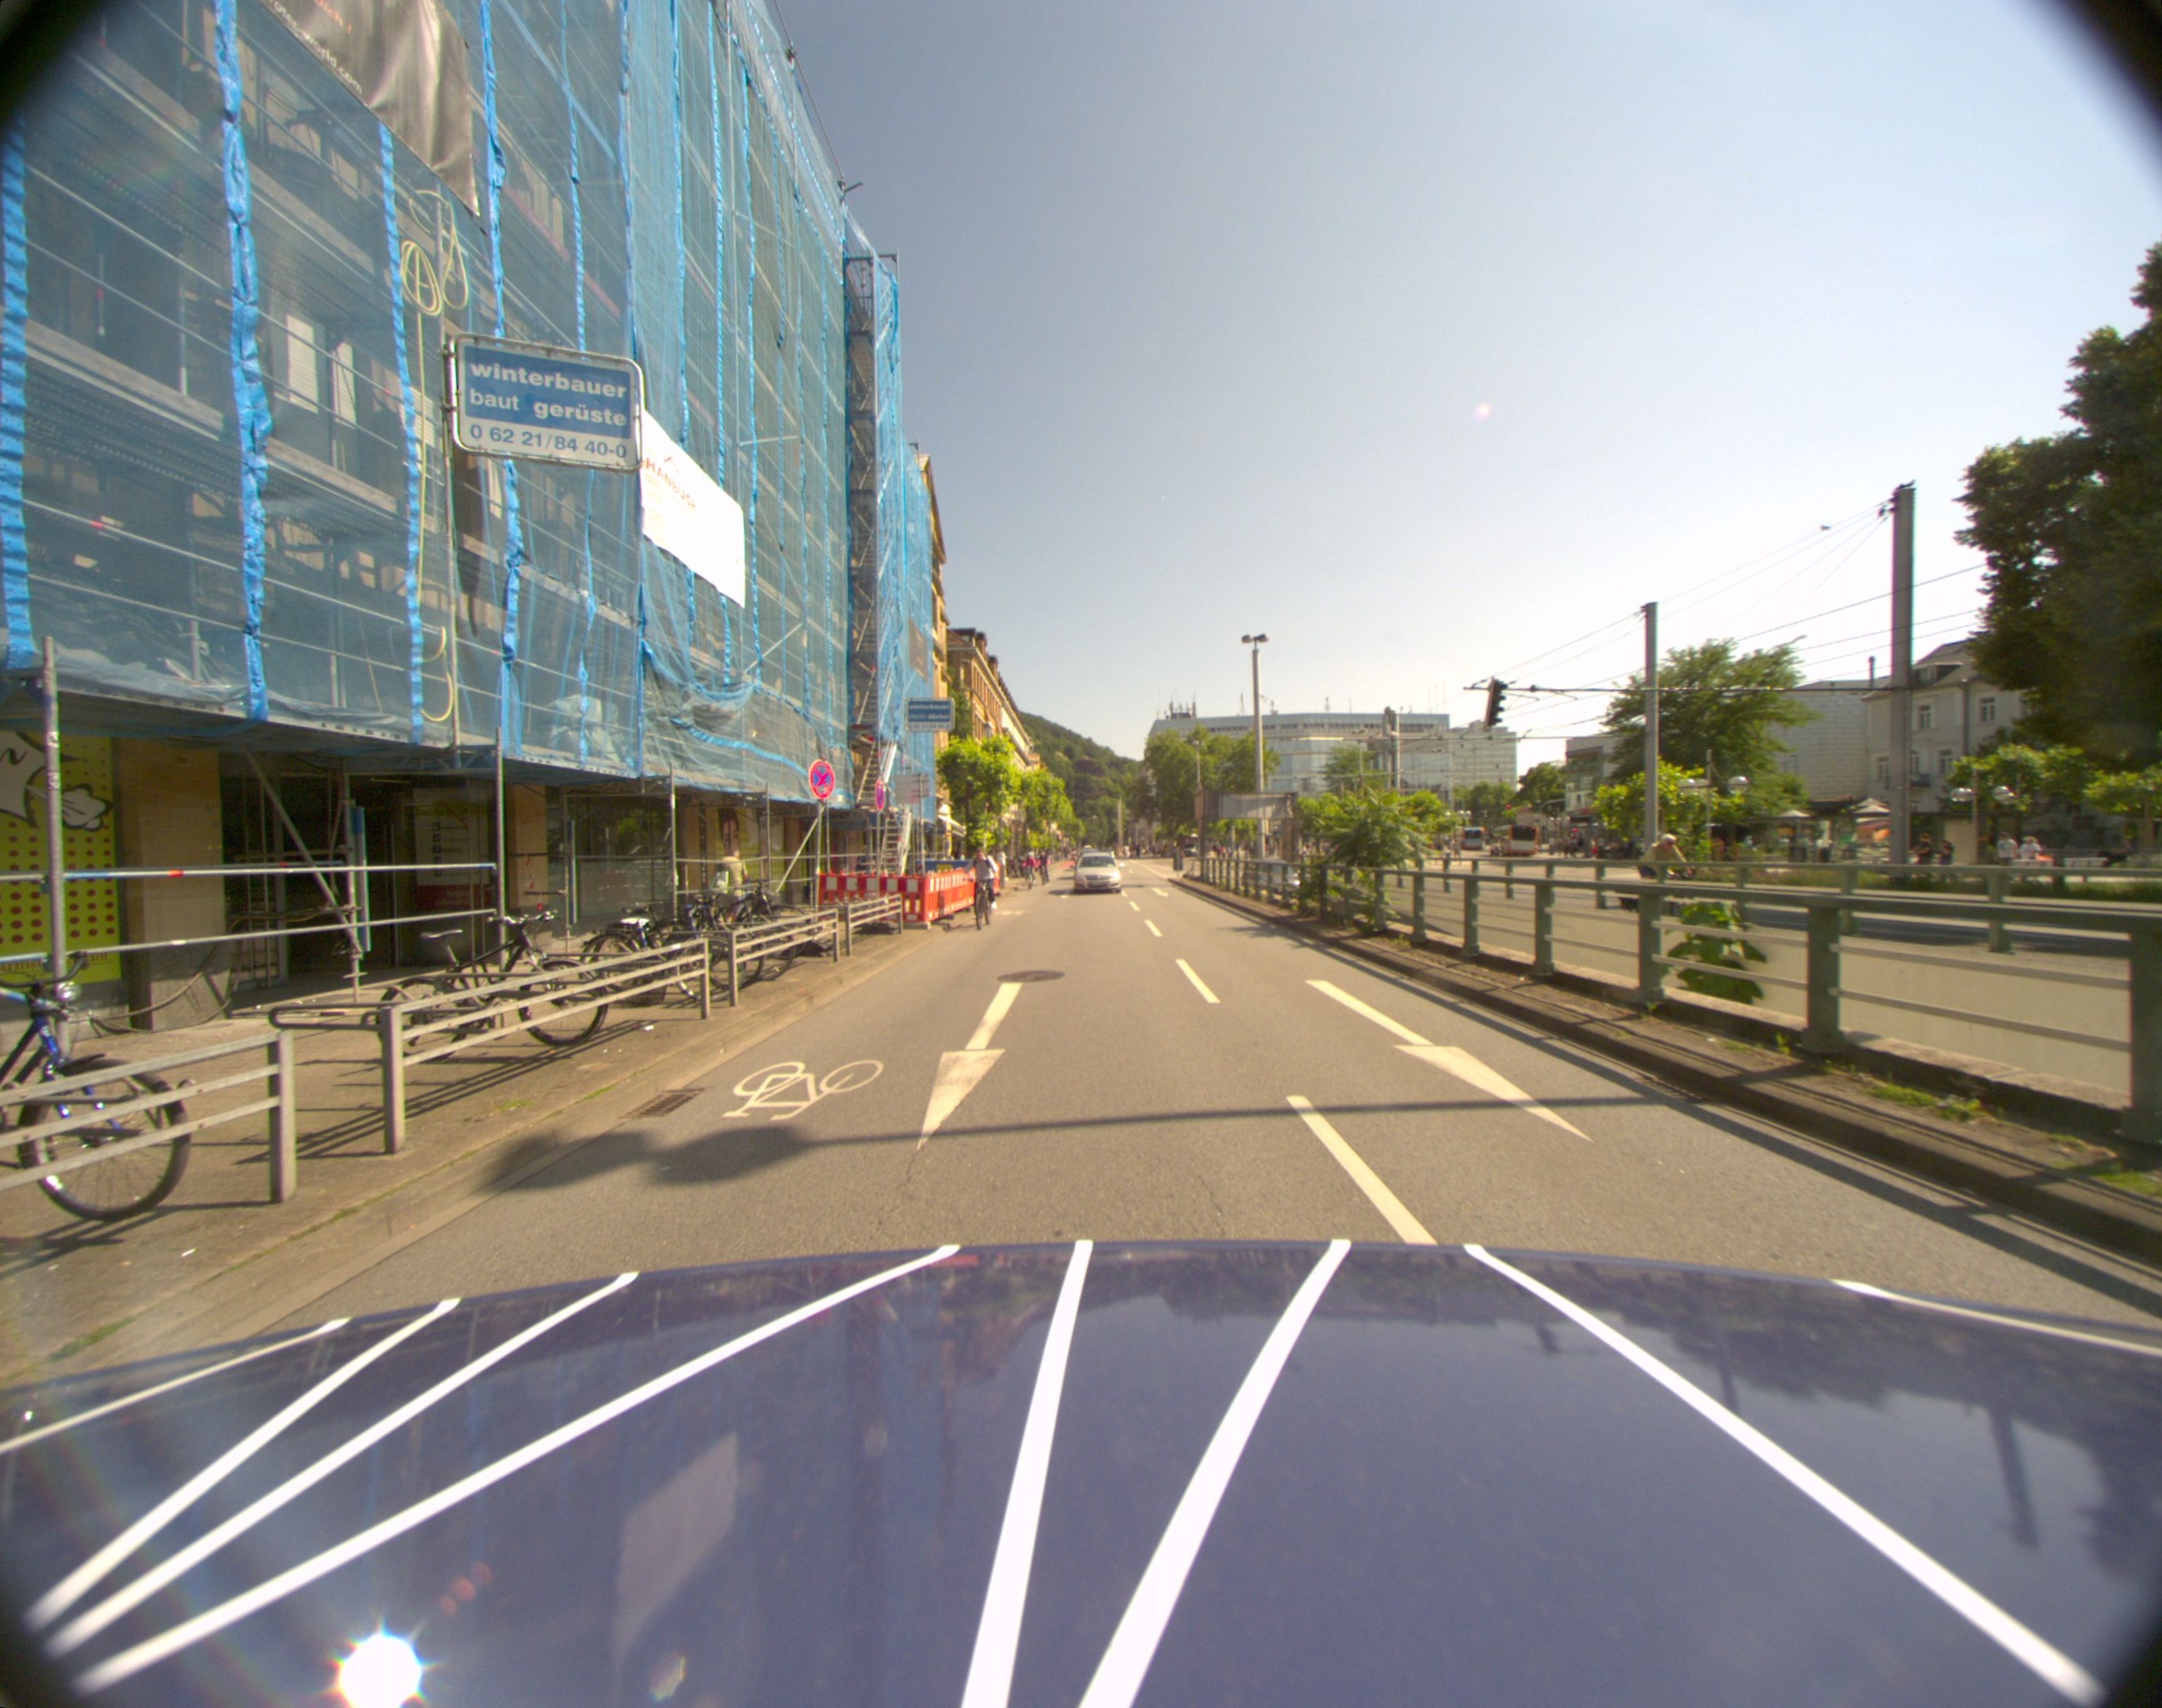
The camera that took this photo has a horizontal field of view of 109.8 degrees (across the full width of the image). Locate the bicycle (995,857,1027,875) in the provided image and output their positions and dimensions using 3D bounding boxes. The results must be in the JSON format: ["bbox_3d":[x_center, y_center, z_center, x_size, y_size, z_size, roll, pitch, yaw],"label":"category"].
[{"bbox_3d":[-4.028,0.675,43.890,1.757,1.012,0.587,-1,1,-1],"label":"bicycle"}]

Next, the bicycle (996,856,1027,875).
[{"bbox_3d":[-4.062,0.668,44.572,1.757,1.012,0.483,-2,1,-1],"label":"bicycle"}]

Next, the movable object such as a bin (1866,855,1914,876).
[{"bbox_3d":[29.883,0.429,28.072,0.909,0.750,0.800,1,0,1],"label":"movable object such as a bin"}]

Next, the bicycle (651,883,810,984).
[{"bbox_3d":[-4.461,1.000,9.734,1.697,1.172,0.608,-2,1,1],"label":"bicycle"}]

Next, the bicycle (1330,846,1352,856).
[{"bbox_3d":[23.846,-0.270,69.698,1.871,0.865,0.581,-3,1,-12],"label":"bicycle"}]

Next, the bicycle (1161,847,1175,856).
[{"bbox_3d":[11.217,-0.300,98.318,1.757,1.140,0.483,-2,1,-1],"label":"bicycle"}]

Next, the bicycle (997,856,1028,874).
[{"bbox_3d":[-4.059,0.674,45.203,1.757,1.012,0.483,-2,1,-1],"label":"bicycle"}]

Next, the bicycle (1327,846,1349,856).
[{"bbox_3d":[23.794,-0.283,70.313,1.871,0.851,0.546,-3,1,-12],"label":"bicycle"}]

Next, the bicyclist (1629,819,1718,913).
[{"bbox_3d":[10.625,0.213,13.664,0.819,1.612,0.902,2,1,1],"label":"bicyclist"}]

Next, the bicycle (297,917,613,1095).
[{"bbox_3d":[-4.467,1.069,5.497,1.743,1.103,0.608,-2,1,1],"label":"bicycle"}]

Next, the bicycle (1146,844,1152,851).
[{"bbox_3d":[12.754,-1.214,142.959,0.729,1.137,1.914,-3,1,15],"label":"bicycle"}]

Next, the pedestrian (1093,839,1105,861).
[{"bbox_3d":[1.640,-0.369,68.721,0.896,1.996,0.678,-2,1,-43],"label":"pedestrian"}]

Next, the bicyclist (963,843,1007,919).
[{"bbox_3d":[-2.056,0.570,16.378,0.750,1.568,0.778,-3,1,0],"label":"bicyclist"}]

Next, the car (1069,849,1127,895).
[{"bbox_3d":[0.651,0.608,27.841,1.918,1.401,4.000,-3,1,2],"label":"car"}]

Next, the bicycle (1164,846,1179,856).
[{"bbox_3d":[11.321,-0.408,95.038,1.757,1.140,0.483,-2,1,-1],"label":"bicycle"}]

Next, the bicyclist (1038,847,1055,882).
[{"bbox_3d":[-1.599,0.489,35.493,0.690,1.568,0.778,-3,1,-2],"label":"bicyclist"}]

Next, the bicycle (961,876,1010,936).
[{"bbox_3d":[-2.031,1.085,16.421,0.736,1.086,1.897,-3,1,0],"label":"bicycle"}]

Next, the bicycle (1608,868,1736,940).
[{"bbox_3d":[10.579,0.860,13.703,0.819,1.114,1.874,1,1,1],"label":"bicycle"}]

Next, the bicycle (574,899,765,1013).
[{"bbox_3d":[-4.449,1.094,8.277,1.697,1.091,0.608,-2,1,1],"label":"bicycle"}]

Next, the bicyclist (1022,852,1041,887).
[{"bbox_3d":[-2.061,0.645,31.925,0.690,1.388,0.778,-3,1,-1],"label":"bicyclist"}]

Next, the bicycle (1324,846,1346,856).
[{"bbox_3d":[23.665,-0.280,70.887,1.871,0.851,0.546,-3,1,-12],"label":"bicycle"}]

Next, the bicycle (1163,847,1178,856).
[{"bbox_3d":[11.297,-0.320,95.950,1.865,1.140,0.483,-2,1,-1],"label":"bicycle"}]

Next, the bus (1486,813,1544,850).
[{"bbox_3d":[45.243,-2.347,79.580,3.060,3.400,12.474,-3,1,20],"label":"bus"}]

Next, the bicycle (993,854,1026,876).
[{"bbox_3d":[-4.006,0.620,42.679,1.757,1.174,0.579,-2,1,-1],"label":"bicycle"}]

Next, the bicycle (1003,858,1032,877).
[{"bbox_3d":[-3.424,0.721,40.946,0.659,1.012,1.753,-3,1,-38],"label":"bicycle"}]

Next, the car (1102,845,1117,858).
[{"bbox_3d":[4.479,-0.392,120.133,1.999,2.002,3.999,-3,1,-1],"label":"car"}]

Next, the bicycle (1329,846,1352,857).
[{"bbox_3d":[23.170,-0.202,67.720,1.871,0.865,0.581,-3,1,-12],"label":"bicycle"}]

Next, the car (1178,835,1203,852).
[{"bbox_3d":[14.326,-1.426,99.392,1.995,2.002,5.073,-3,1,22],"label":"car"}]

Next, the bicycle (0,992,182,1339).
[{"bbox_3d":[-4.516,1.130,2.779,1.697,1.081,0.608,-2,1,1],"label":"bicycle"}]

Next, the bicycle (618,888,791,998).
[{"bbox_3d":[-4.448,1.039,9.050,1.697,1.172,0.608,-2,1,1],"label":"bicycle"}]

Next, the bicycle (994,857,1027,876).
[{"bbox_3d":[-4.010,0.699,43.263,1.757,1.012,0.557,-2,1,-1],"label":"bicycle"}]

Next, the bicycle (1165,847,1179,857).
[{"bbox_3d":[11.328,-0.284,94.563,1.757,1.140,0.483,-2,1,-1],"label":"bicycle"}]

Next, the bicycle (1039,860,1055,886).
[{"bbox_3d":[-1.570,0.871,35.419,0.667,1.086,1.897,-3,1,-2],"label":"bicycle"}]

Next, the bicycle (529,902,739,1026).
[{"bbox_3d":[-4.450,1.080,7.629,1.697,1.091,0.608,-2,1,1],"label":"bicycle"}]

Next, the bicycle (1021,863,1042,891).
[{"bbox_3d":[-2.050,0.964,31.882,0.736,1.086,1.819,-3,0,0],"label":"bicycle"}]

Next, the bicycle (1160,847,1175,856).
[{"bbox_3d":[11.097,-0.287,97.550,1.757,1.140,0.483,-2,1,-1],"label":"bicycle"}]

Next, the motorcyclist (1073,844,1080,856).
[{"bbox_3d":[-0.568,-0.462,94.287,0.736,1.446,0.707,-3,1,1],"label":"motorcyclist"}]

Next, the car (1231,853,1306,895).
[{"bbox_3d":[7.200,0.719,29.551,1.699,1.397,3.998,3,1,-3],"label":"car"}]

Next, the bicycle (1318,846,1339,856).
[{"bbox_3d":[23.453,-0.313,72.042,1.871,0.867,0.582,-3,1,-12],"label":"bicycle"}]

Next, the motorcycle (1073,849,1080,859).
[{"bbox_3d":[-0.558,-0.016,94.308,0.736,1.086,1.897,-3,1,1],"label":"motorcycle"}]

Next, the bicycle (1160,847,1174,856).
[{"bbox_3d":[11.279,-0.323,99.456,1.757,1.140,0.483,-2,1,-1],"label":"bicycle"}]
